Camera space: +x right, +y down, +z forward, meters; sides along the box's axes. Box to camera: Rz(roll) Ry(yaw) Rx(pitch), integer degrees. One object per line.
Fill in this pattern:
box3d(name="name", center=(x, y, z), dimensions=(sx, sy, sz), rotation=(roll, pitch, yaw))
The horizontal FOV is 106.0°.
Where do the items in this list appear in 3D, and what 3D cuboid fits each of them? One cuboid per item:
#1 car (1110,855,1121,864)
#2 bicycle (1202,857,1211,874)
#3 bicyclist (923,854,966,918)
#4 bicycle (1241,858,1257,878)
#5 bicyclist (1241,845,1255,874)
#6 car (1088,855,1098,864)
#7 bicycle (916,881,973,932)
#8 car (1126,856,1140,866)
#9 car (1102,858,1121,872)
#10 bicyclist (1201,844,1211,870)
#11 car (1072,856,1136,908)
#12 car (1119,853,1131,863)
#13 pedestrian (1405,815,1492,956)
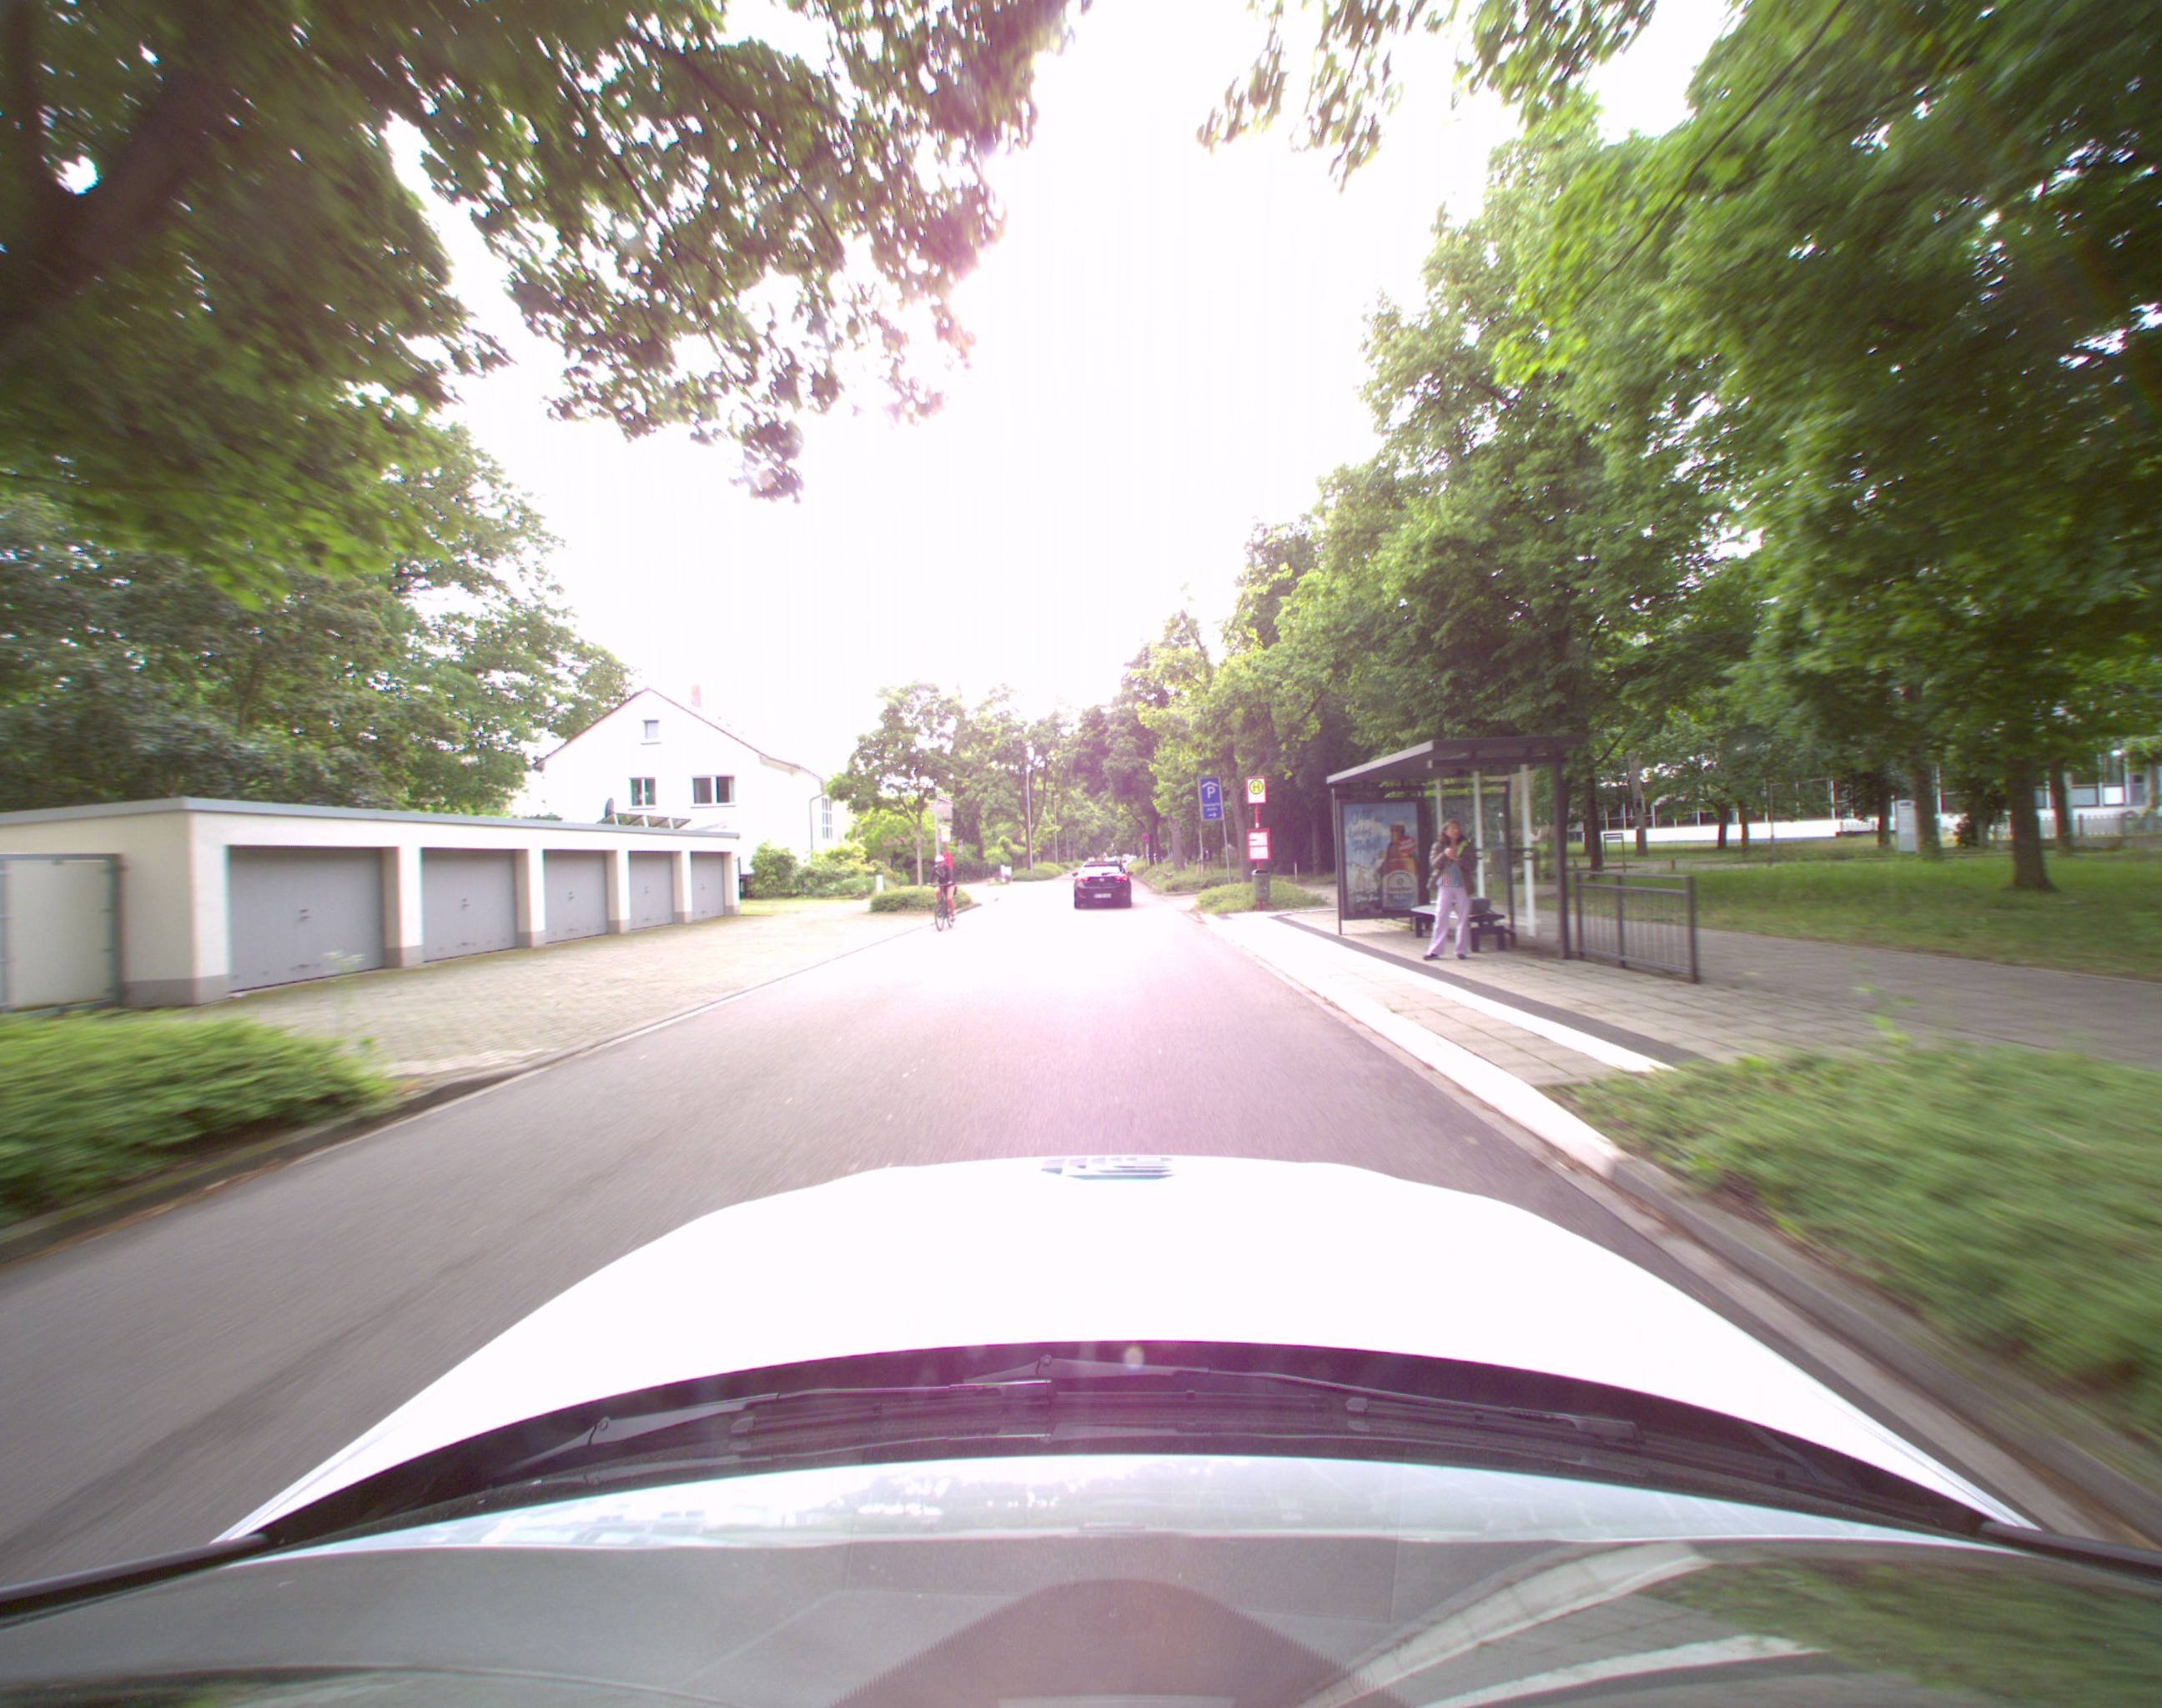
box3d(name="car", center=(6.357, 0.969, 149.249), dimensions=(1.986, 1.486, 4.002), rotation=(-3, 0, 2))
box3d(name="bicycle", center=(7.555, 0.693, 49.052), dimensions=(0.488, 0.975, 1.949), rotation=(-3, 0, 9))
box3d(name="bicyclist", center=(-3.299, 0.760, 19.763), dimensions=(0.781, 1.469, 0.937), rotation=(-3, 0, 1))
box3d(name="bicycle", center=(8.477, 0.697, 41.134), dimensions=(0.604, 0.975, 1.949), rotation=(-3, 0, 9))
box3d(name="bicyclist", center=(8.416, 0.267, 41.031), dimensions=(0.593, 1.409, 0.760), rotation=(-3, 0, 9))
box3d(name="car", center=(2.144, 1.019, 143.611), dimensions=(1.557, 1.437, 4.213), rotation=(-3, 0, -1))
box3d(name="bicycle", center=(-3.278, 1.225, 19.773), dimensions=(0.791, 1.025, 2.566), rotation=(-3, 0, 2))
box3d(name="car", center=(8.019, 1.035, 126.013), dimensions=(1.893, 1.486, 3.999), rotation=(-2, 0, 0))
box3d(name="car", center=(3.461, 1.195, 92.733), dimensions=(1.859, 1.462, 4.115), rotation=(-3, 0, -1))
box3d(name="bicyclist", center=(7.560, 0.192, 49.252), dimensions=(0.531, 1.549, 0.760), rotation=(-3, 0, 9))
box3d(name="car", center=(0.717, 0.852, 26.197), dimensions=(1.839, 1.462, 3.828), rotation=(-2, 0, 1))
box3d(name="car", center=(9.192, 0.904, 171.065), dimensions=(1.991, 2.013, 3.992), rotation=(-3, 0, -5))
box3d(name="pedestrian", center=(4.352, 0.365, 9.679), dimensions=(0.651, 1.583, 0.698), rotation=(-3, 0, 2))
